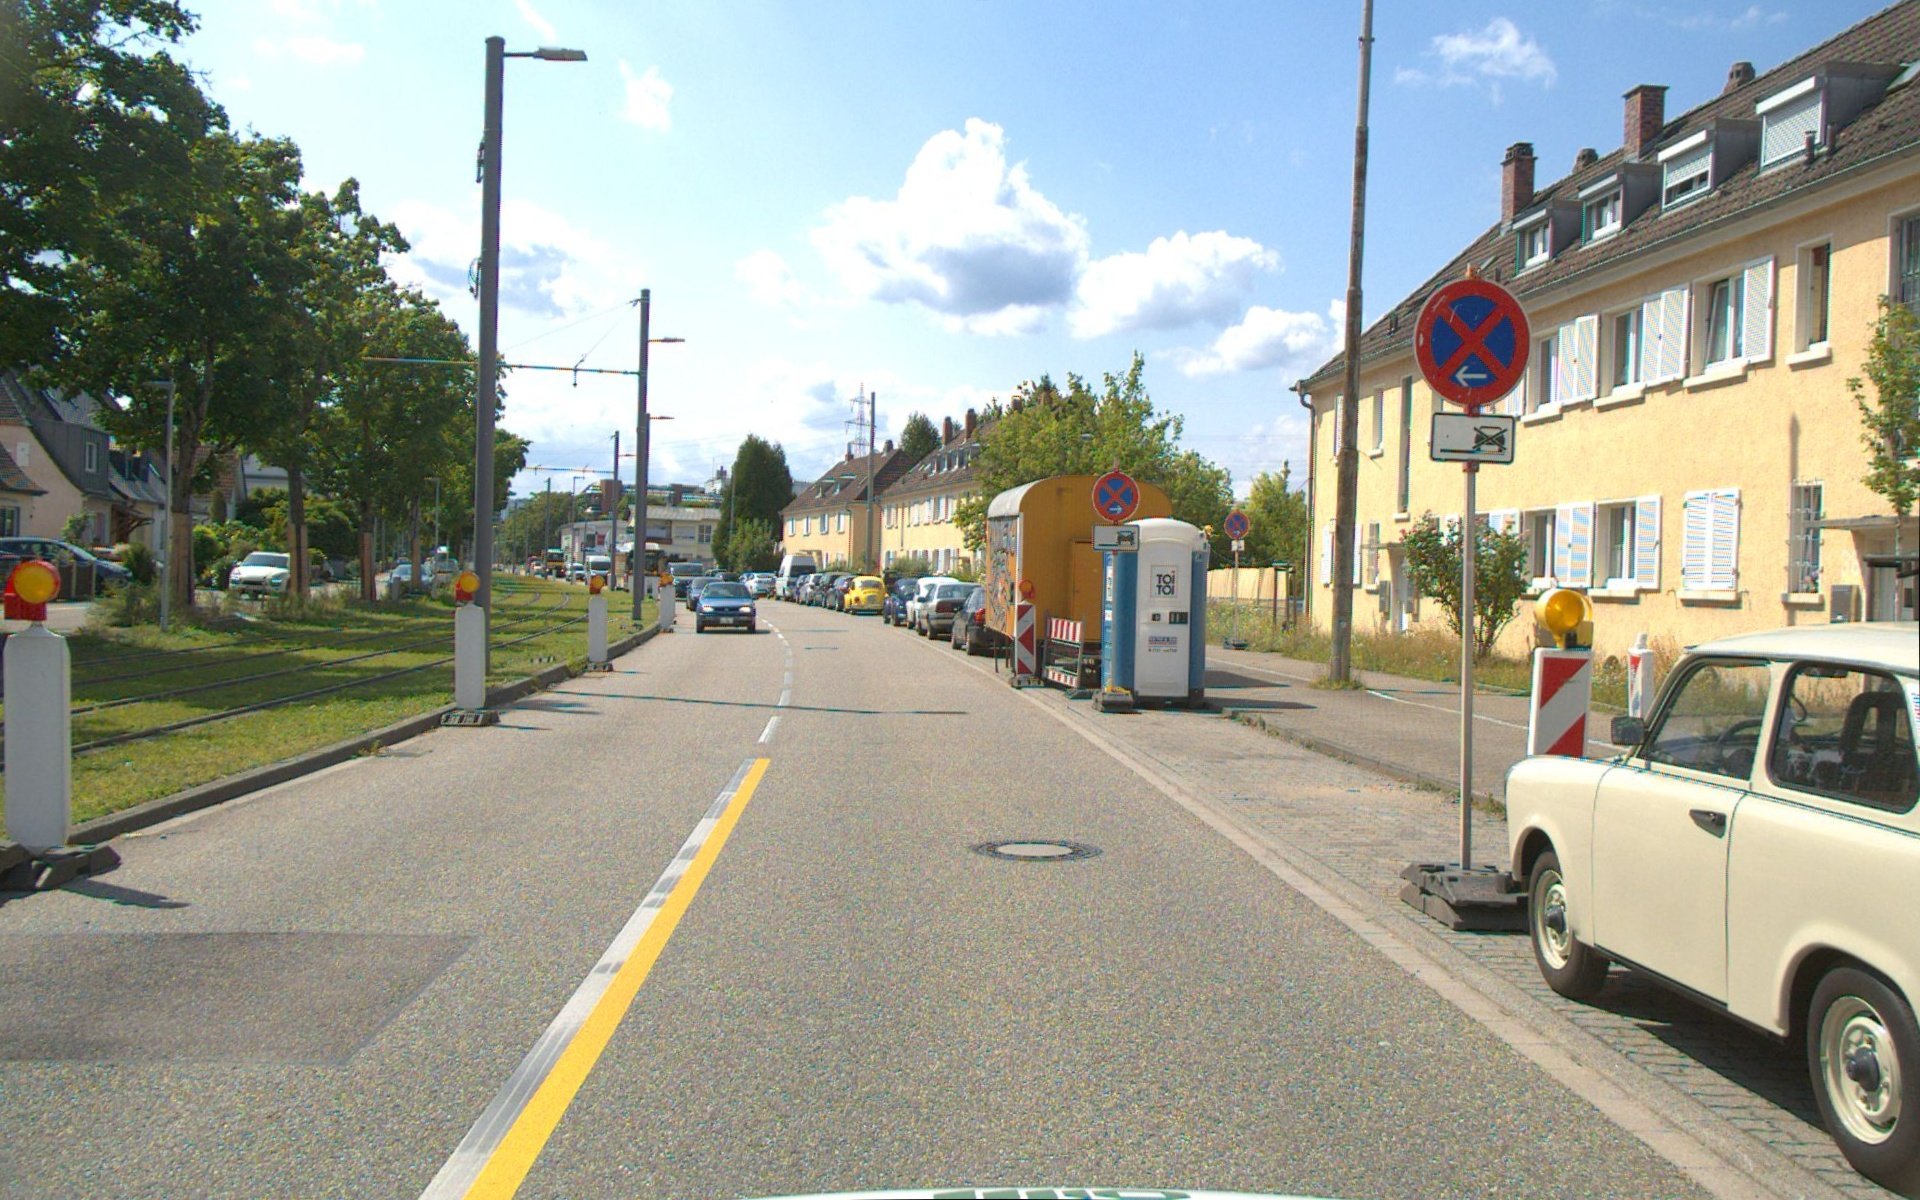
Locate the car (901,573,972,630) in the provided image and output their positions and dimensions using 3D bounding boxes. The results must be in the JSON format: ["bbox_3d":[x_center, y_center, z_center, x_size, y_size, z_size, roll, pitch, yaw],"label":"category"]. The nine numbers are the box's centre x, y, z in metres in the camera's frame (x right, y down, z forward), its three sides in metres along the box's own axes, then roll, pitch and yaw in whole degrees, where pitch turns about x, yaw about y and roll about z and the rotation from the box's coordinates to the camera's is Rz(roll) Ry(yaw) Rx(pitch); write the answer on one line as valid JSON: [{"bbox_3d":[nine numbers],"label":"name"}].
[{"bbox_3d":[-0.725,0.005,47.991,1.547,1.539,4.452,2,1,-7],"label":"car"}]

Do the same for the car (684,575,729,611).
[{"bbox_3d":[-10.788,-0.324,70.223,1.693,1.413,4.111,1,1,-11],"label":"car"}]

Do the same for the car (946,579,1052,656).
[{"bbox_3d":[0.763,0.314,35.113,1.547,1.474,4.446,2,1,-7],"label":"car"}]

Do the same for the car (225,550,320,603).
[{"bbox_3d":[-24.976,-0.869,60.252,1.845,1.799,5.076,1,1,-7],"label":"car"}]

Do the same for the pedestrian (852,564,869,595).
[{"bbox_3d":[-5.605,-1.169,93.158,0.839,1.680,0.635,2,0,-13],"label":"pedestrian"}]

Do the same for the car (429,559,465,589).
[{"bbox_3d":[-28.246,-1.472,91.212,1.782,1.614,4.548,0,1,-16],"label":"car"}]

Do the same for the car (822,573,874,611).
[{"bbox_3d":[-4.806,-0.369,70.536,1.608,1.508,4.111,2,1,-13],"label":"car"}]

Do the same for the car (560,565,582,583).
[{"bbox_3d":[-39.525,-2.653,167.987,1.708,1.804,4.284,2,1,-20],"label":"car"}]

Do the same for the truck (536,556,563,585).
[{"bbox_3d":[-49.892,-3.611,200.739,2.521,3.519,7.110,0,1,-19],"label":"truck"}]

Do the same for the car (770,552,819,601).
[{"bbox_3d":[-8.997,-1.287,89.567,1.897,2.524,5.498,1,1,-14],"label":"car"}]

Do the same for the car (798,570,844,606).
[{"bbox_3d":[-6.708,-0.609,79.579,1.608,1.630,4.016,2,1,-13],"label":"car"}]

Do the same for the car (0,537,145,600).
[{"bbox_3d":[-28.914,-1.019,53.220,4.392,1.868,2.059,2,0,-13],"label":"car"}]

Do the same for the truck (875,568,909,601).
[{"bbox_3d":[-3.649,-0.849,88.409,1.323,1.718,2.433,1,0,-13],"label":"truck"}]

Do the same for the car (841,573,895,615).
[{"bbox_3d":[-3.660,-0.255,65.172,1.607,1.508,3.922,-1,2,-11],"label":"car"}]

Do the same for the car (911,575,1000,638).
[{"bbox_3d":[-0.172,0.123,42.931,1.674,1.474,4.827,2,1,-7],"label":"car"}]

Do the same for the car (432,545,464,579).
[{"bbox_3d":[-42.912,-3.164,138.522,2.044,2.768,6.958,0,1,-21],"label":"car"}]

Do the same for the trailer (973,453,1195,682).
[{"bbox_3d":[1.856,-0.508,26.842,2.639,3.283,5.075,2,1,-6],"label":"trailer"}]

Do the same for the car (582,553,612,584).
[{"bbox_3d":[-31.376,-2.721,142.855,2.069,2.486,5.546,2,1,-17],"label":"car"}]

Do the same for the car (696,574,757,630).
[{"bbox_3d":[-6.589,0.029,46.846,1.634,1.474,3.953,-1,1,-7],"label":"car"}]

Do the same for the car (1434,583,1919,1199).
[{"bbox_3d":[2.980,0.718,5.461,1.434,1.528,4.107,1,1,-3],"label":"car"}]

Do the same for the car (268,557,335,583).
[{"bbox_3d":[-42.519,-1.936,106.937,3.928,1.598,1.784,1,1,-20],"label":"car"}]

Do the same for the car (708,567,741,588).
[{"bbox_3d":[-16.494,-1.573,115.696,1.736,1.441,3.981,0,1,-17],"label":"car"}]

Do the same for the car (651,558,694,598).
[{"bbox_3d":[-15.206,-1.169,87.216,1.922,2.000,5.275,1,1,-13],"label":"car"}]

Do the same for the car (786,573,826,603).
[{"bbox_3d":[-7.865,-0.623,84.347,1.509,1.470,3.725,2,1,-13],"label":"car"}]

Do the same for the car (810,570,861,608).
[{"bbox_3d":[-5.745,-0.508,75.813,1.609,1.630,3.916,2,1,-15],"label":"car"}]

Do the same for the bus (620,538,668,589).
[{"bbox_3d":[-22.901,-2.646,119.565,2.592,3.472,12.201,0,1,-15],"label":"bus"}]

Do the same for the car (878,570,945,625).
[{"bbox_3d":[-1.597,-0.107,53.048,1.521,1.669,4.236,2,1,-10],"label":"car"}]

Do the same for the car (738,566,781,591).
[{"bbox_3d":[-12.378,-1.325,101.813,1.771,1.483,4.741,-1,1,-18],"label":"car"}]
